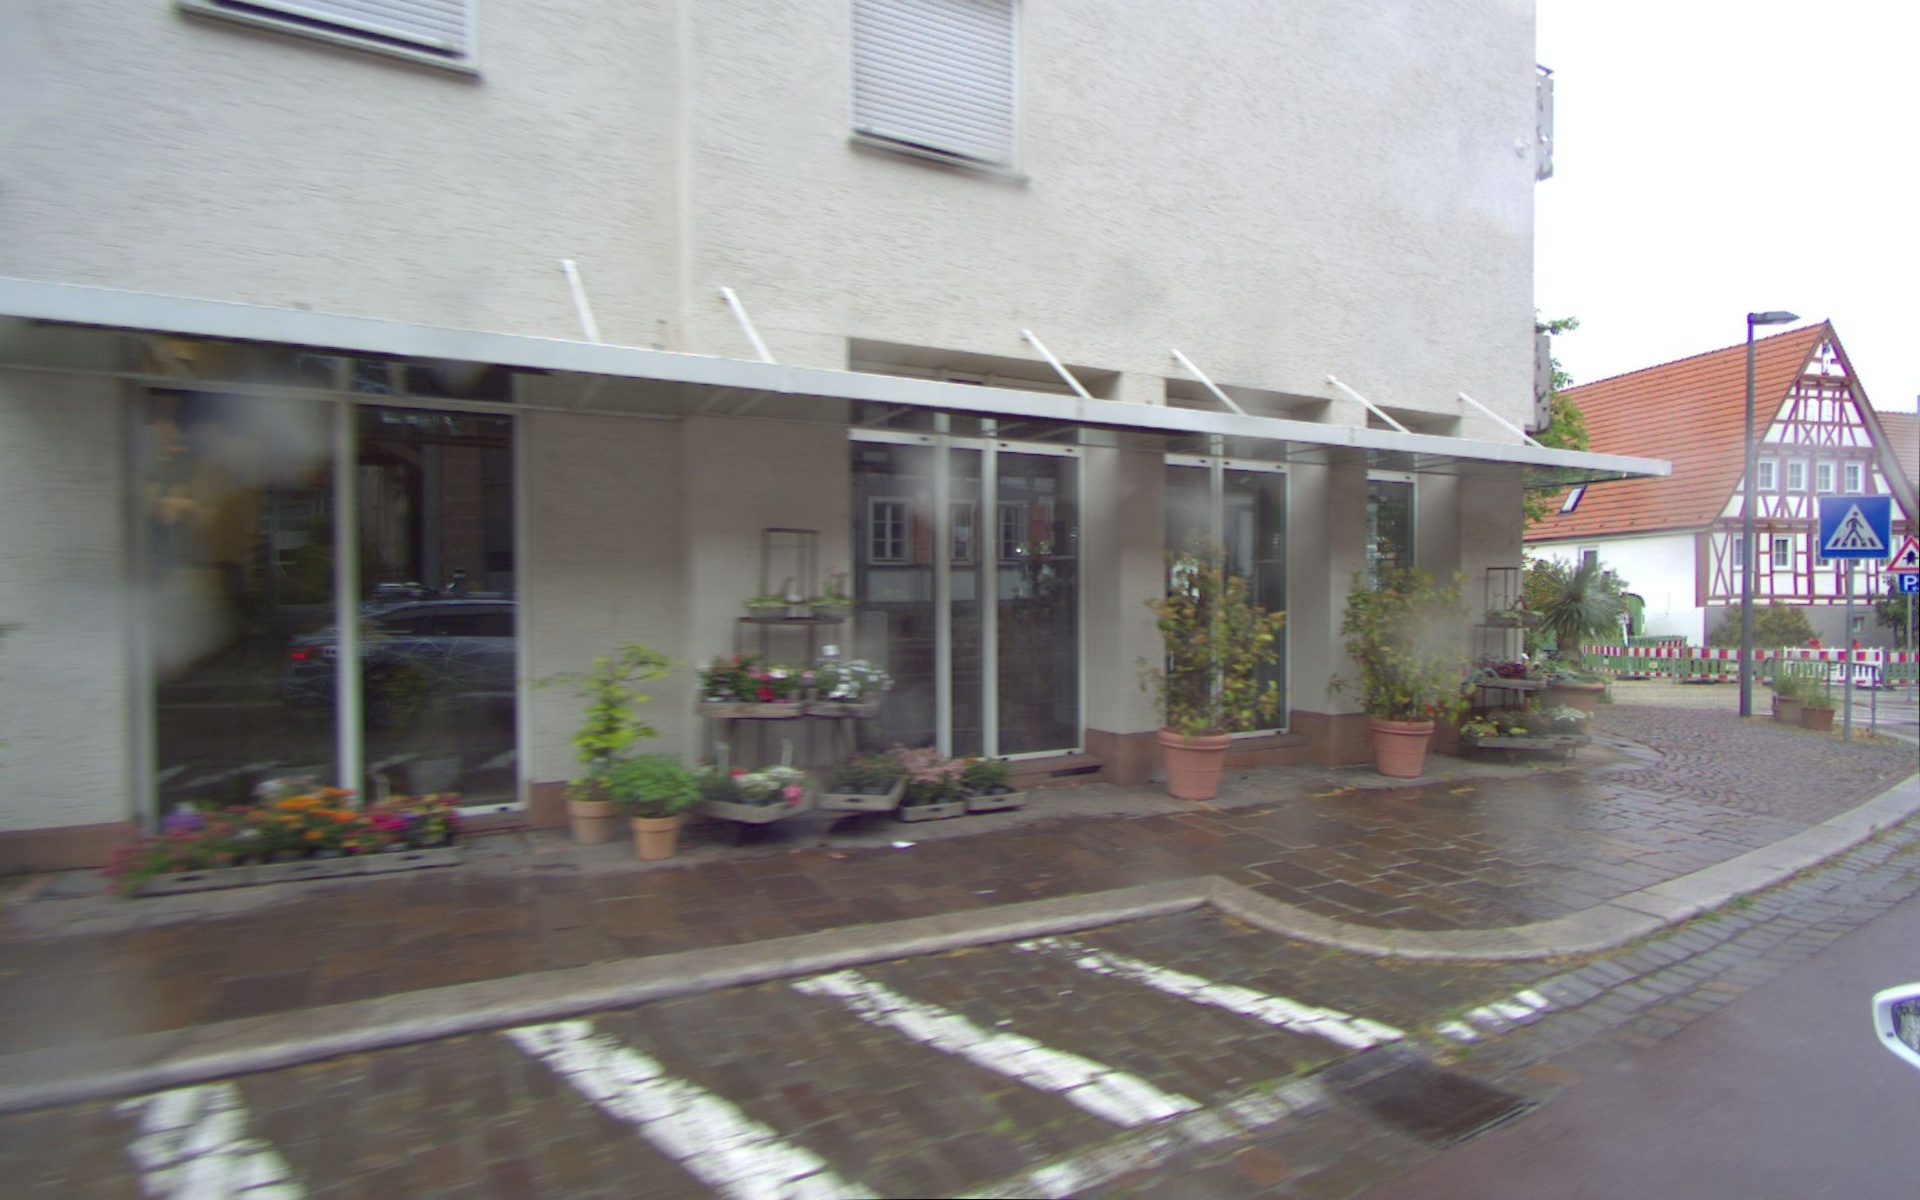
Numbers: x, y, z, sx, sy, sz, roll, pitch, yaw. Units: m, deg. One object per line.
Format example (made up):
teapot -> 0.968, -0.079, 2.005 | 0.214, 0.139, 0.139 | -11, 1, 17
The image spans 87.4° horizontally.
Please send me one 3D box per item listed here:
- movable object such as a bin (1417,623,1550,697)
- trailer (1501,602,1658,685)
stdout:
movable object such as a bin -> 19.421, 2.194, 37.317 | 4.221, 2.588, 1.906 | 0, -2, -17
trailer -> 23.130, 1.561, 37.742 | 2.449, 2.874, 4.621 | 2, 0, -12
